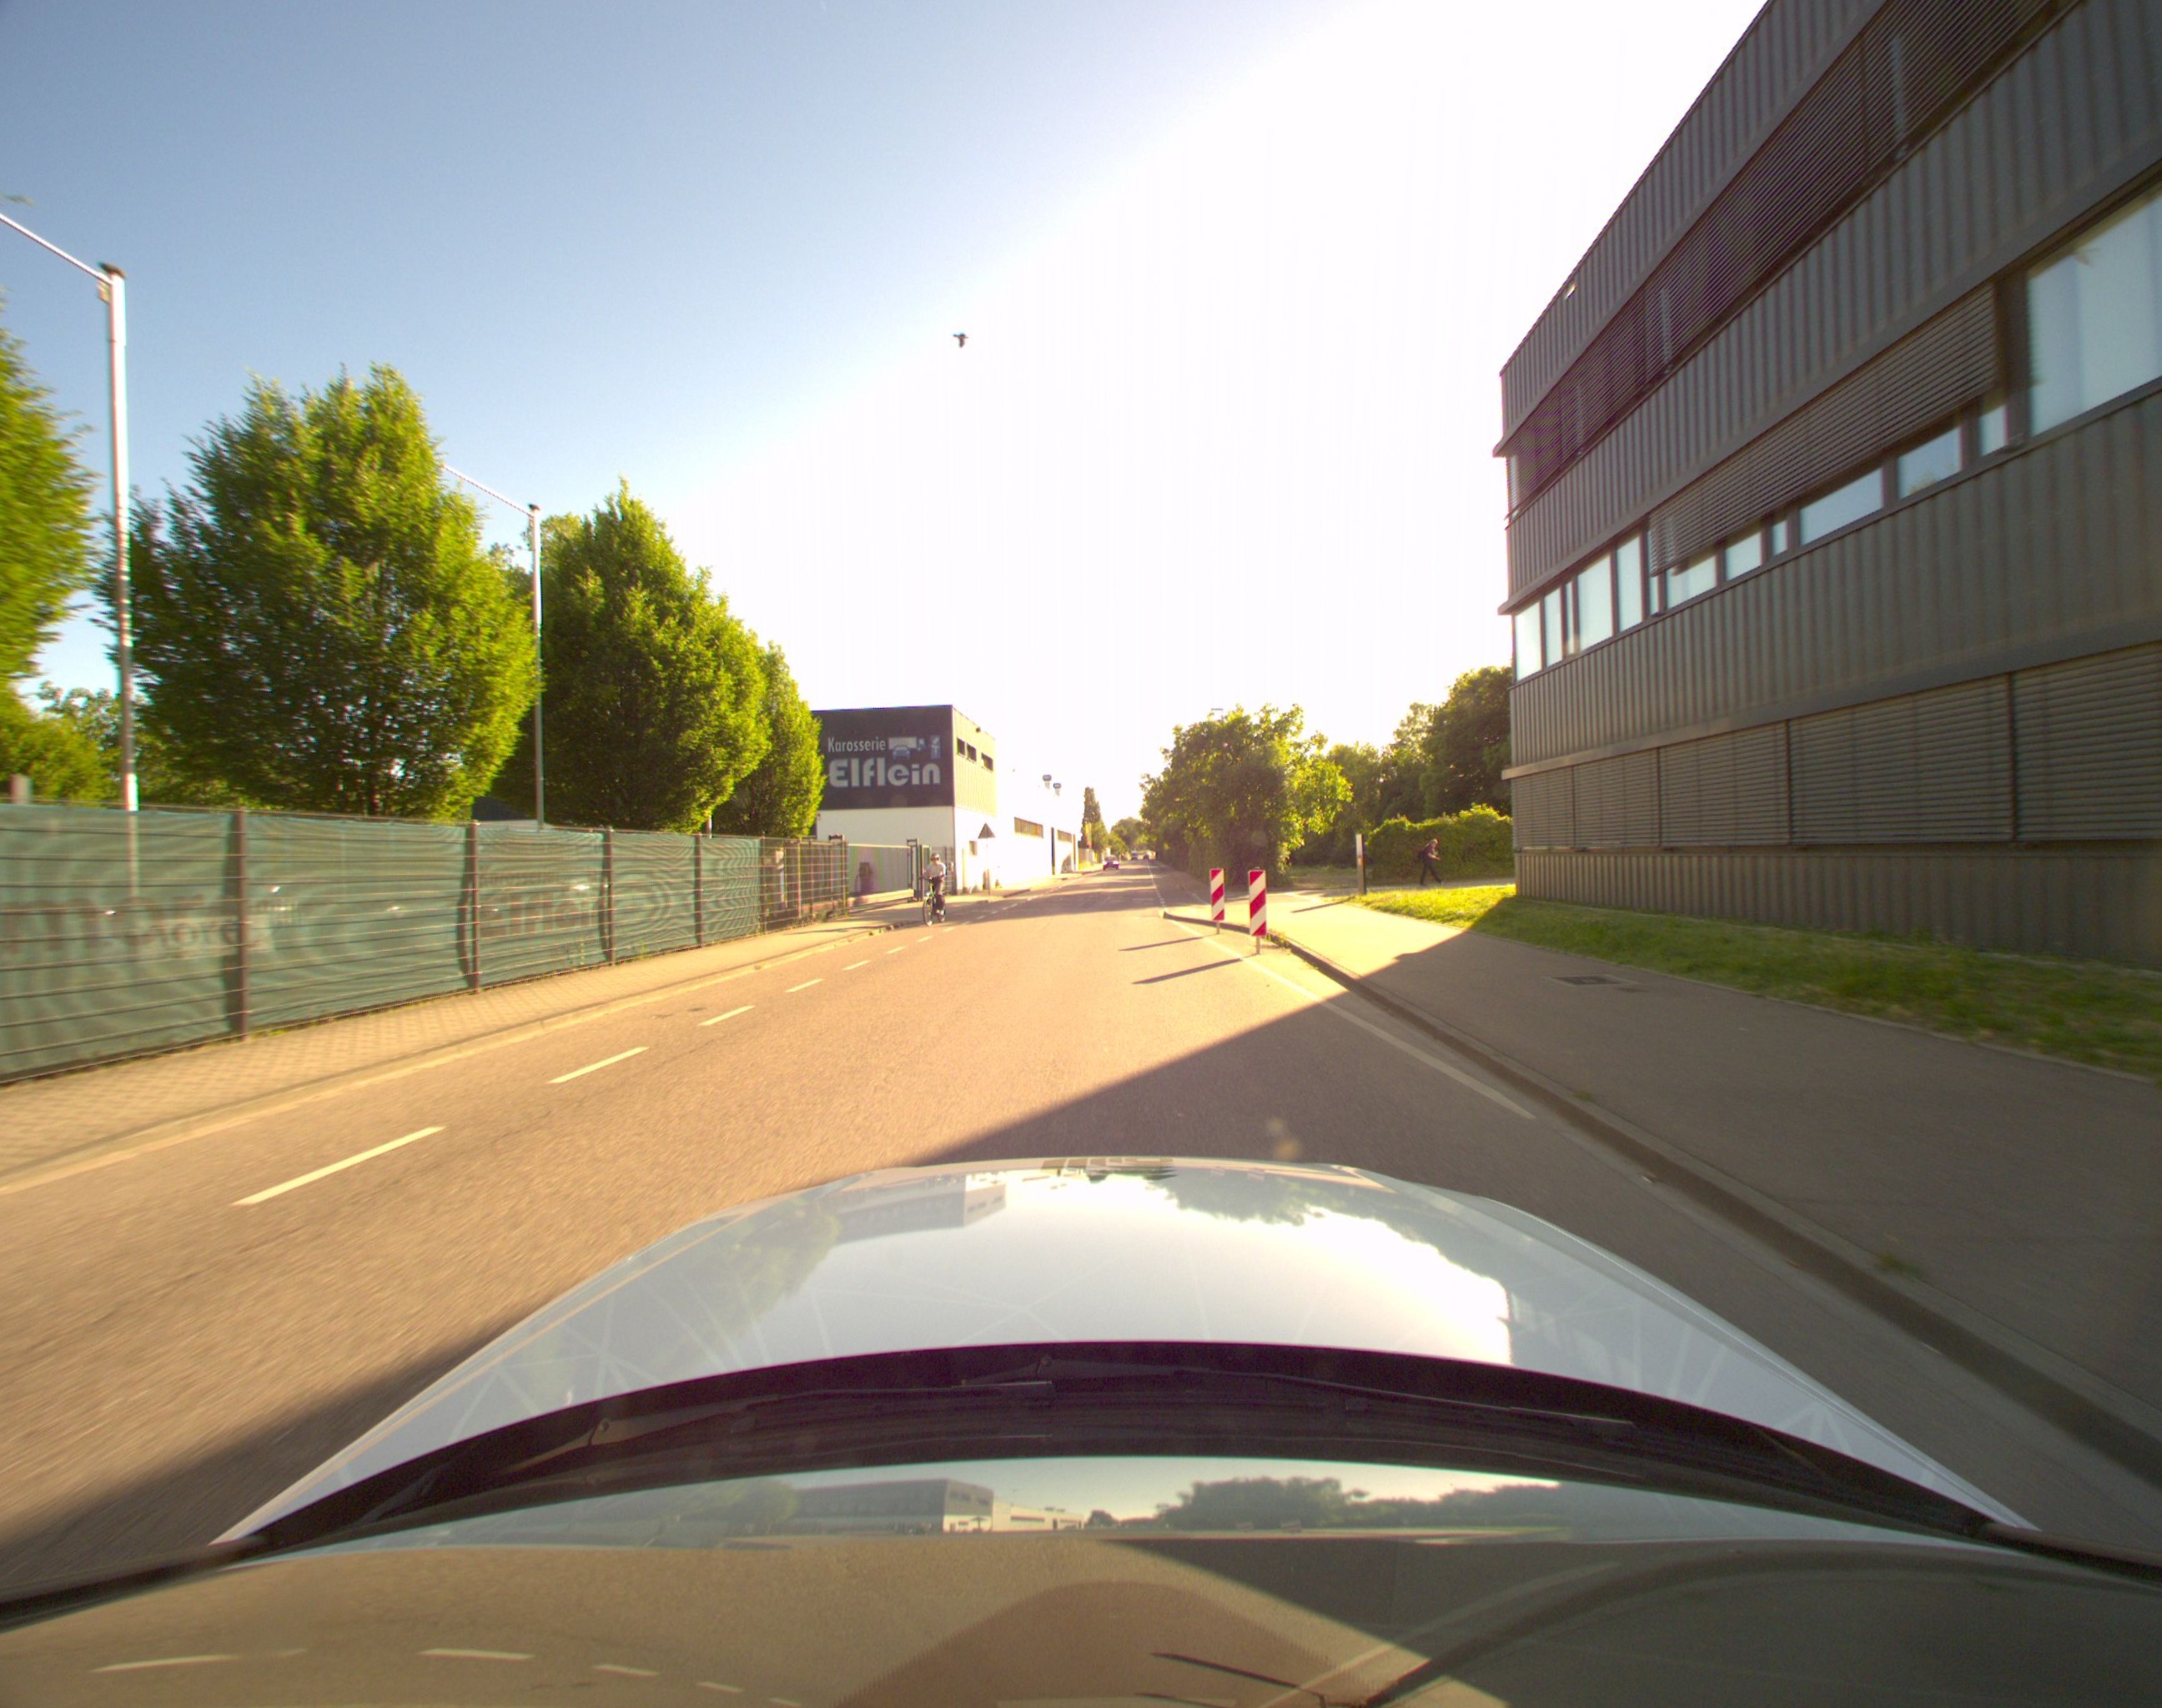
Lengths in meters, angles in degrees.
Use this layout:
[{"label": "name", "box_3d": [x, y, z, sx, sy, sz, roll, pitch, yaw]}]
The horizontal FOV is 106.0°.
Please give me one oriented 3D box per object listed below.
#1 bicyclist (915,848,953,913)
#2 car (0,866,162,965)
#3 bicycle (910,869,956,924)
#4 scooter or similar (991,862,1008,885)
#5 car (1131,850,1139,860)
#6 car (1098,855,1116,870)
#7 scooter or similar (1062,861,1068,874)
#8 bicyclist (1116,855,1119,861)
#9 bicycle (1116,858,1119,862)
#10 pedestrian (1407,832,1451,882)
[{"label": "bicyclist", "box_3d": [-3.774, 0.666, 20.937, 0.743, 1.628, 0.834, -2, 0, 3]}, {"label": "car", "box_3d": [-18.980, 1.092, 14.181, 3.968, 1.540, 1.878, -3, 0, 4]}, {"label": "bicycle", "box_3d": [-3.773, 1.057, 20.935, 0.664, 1.288, 2.174, -2, 0, 3]}, {"label": "scooter or similar", "box_3d": [-4.339, 1.025, 43.416, 0.504, 1.203, 1.755, 2, 0, 5]}, {"label": "car", "box_3d": [16.125, 0.186, 241.279, 2.113, 2.780, 5.933, -4, -1, 4]}, {"label": "car", "box_3d": [2.987, 0.982, 92.203, 1.810, 1.489, 4.003, -5, -1, 3]}, {"label": "scooter or similar", "box_3d": [-1.544, 1.299, 77.633, 0.414, 1.267, 1.061, -1, 0, 4]}, {"label": "bicyclist", "box_3d": [8.839, 0.906, 198.101, 0.686, 1.532, 0.723, 0, 0, 4]}, {"label": "bicycle", "box_3d": [8.843, 1.399, 198.143, 0.686, 1.034, 1.352, 0, 0, 4]}, {"label": "pedestrian", "box_3d": [13.164, 0.121, 30.840, 1.148, 1.792, 0.896, -4, -1, 0]}]
